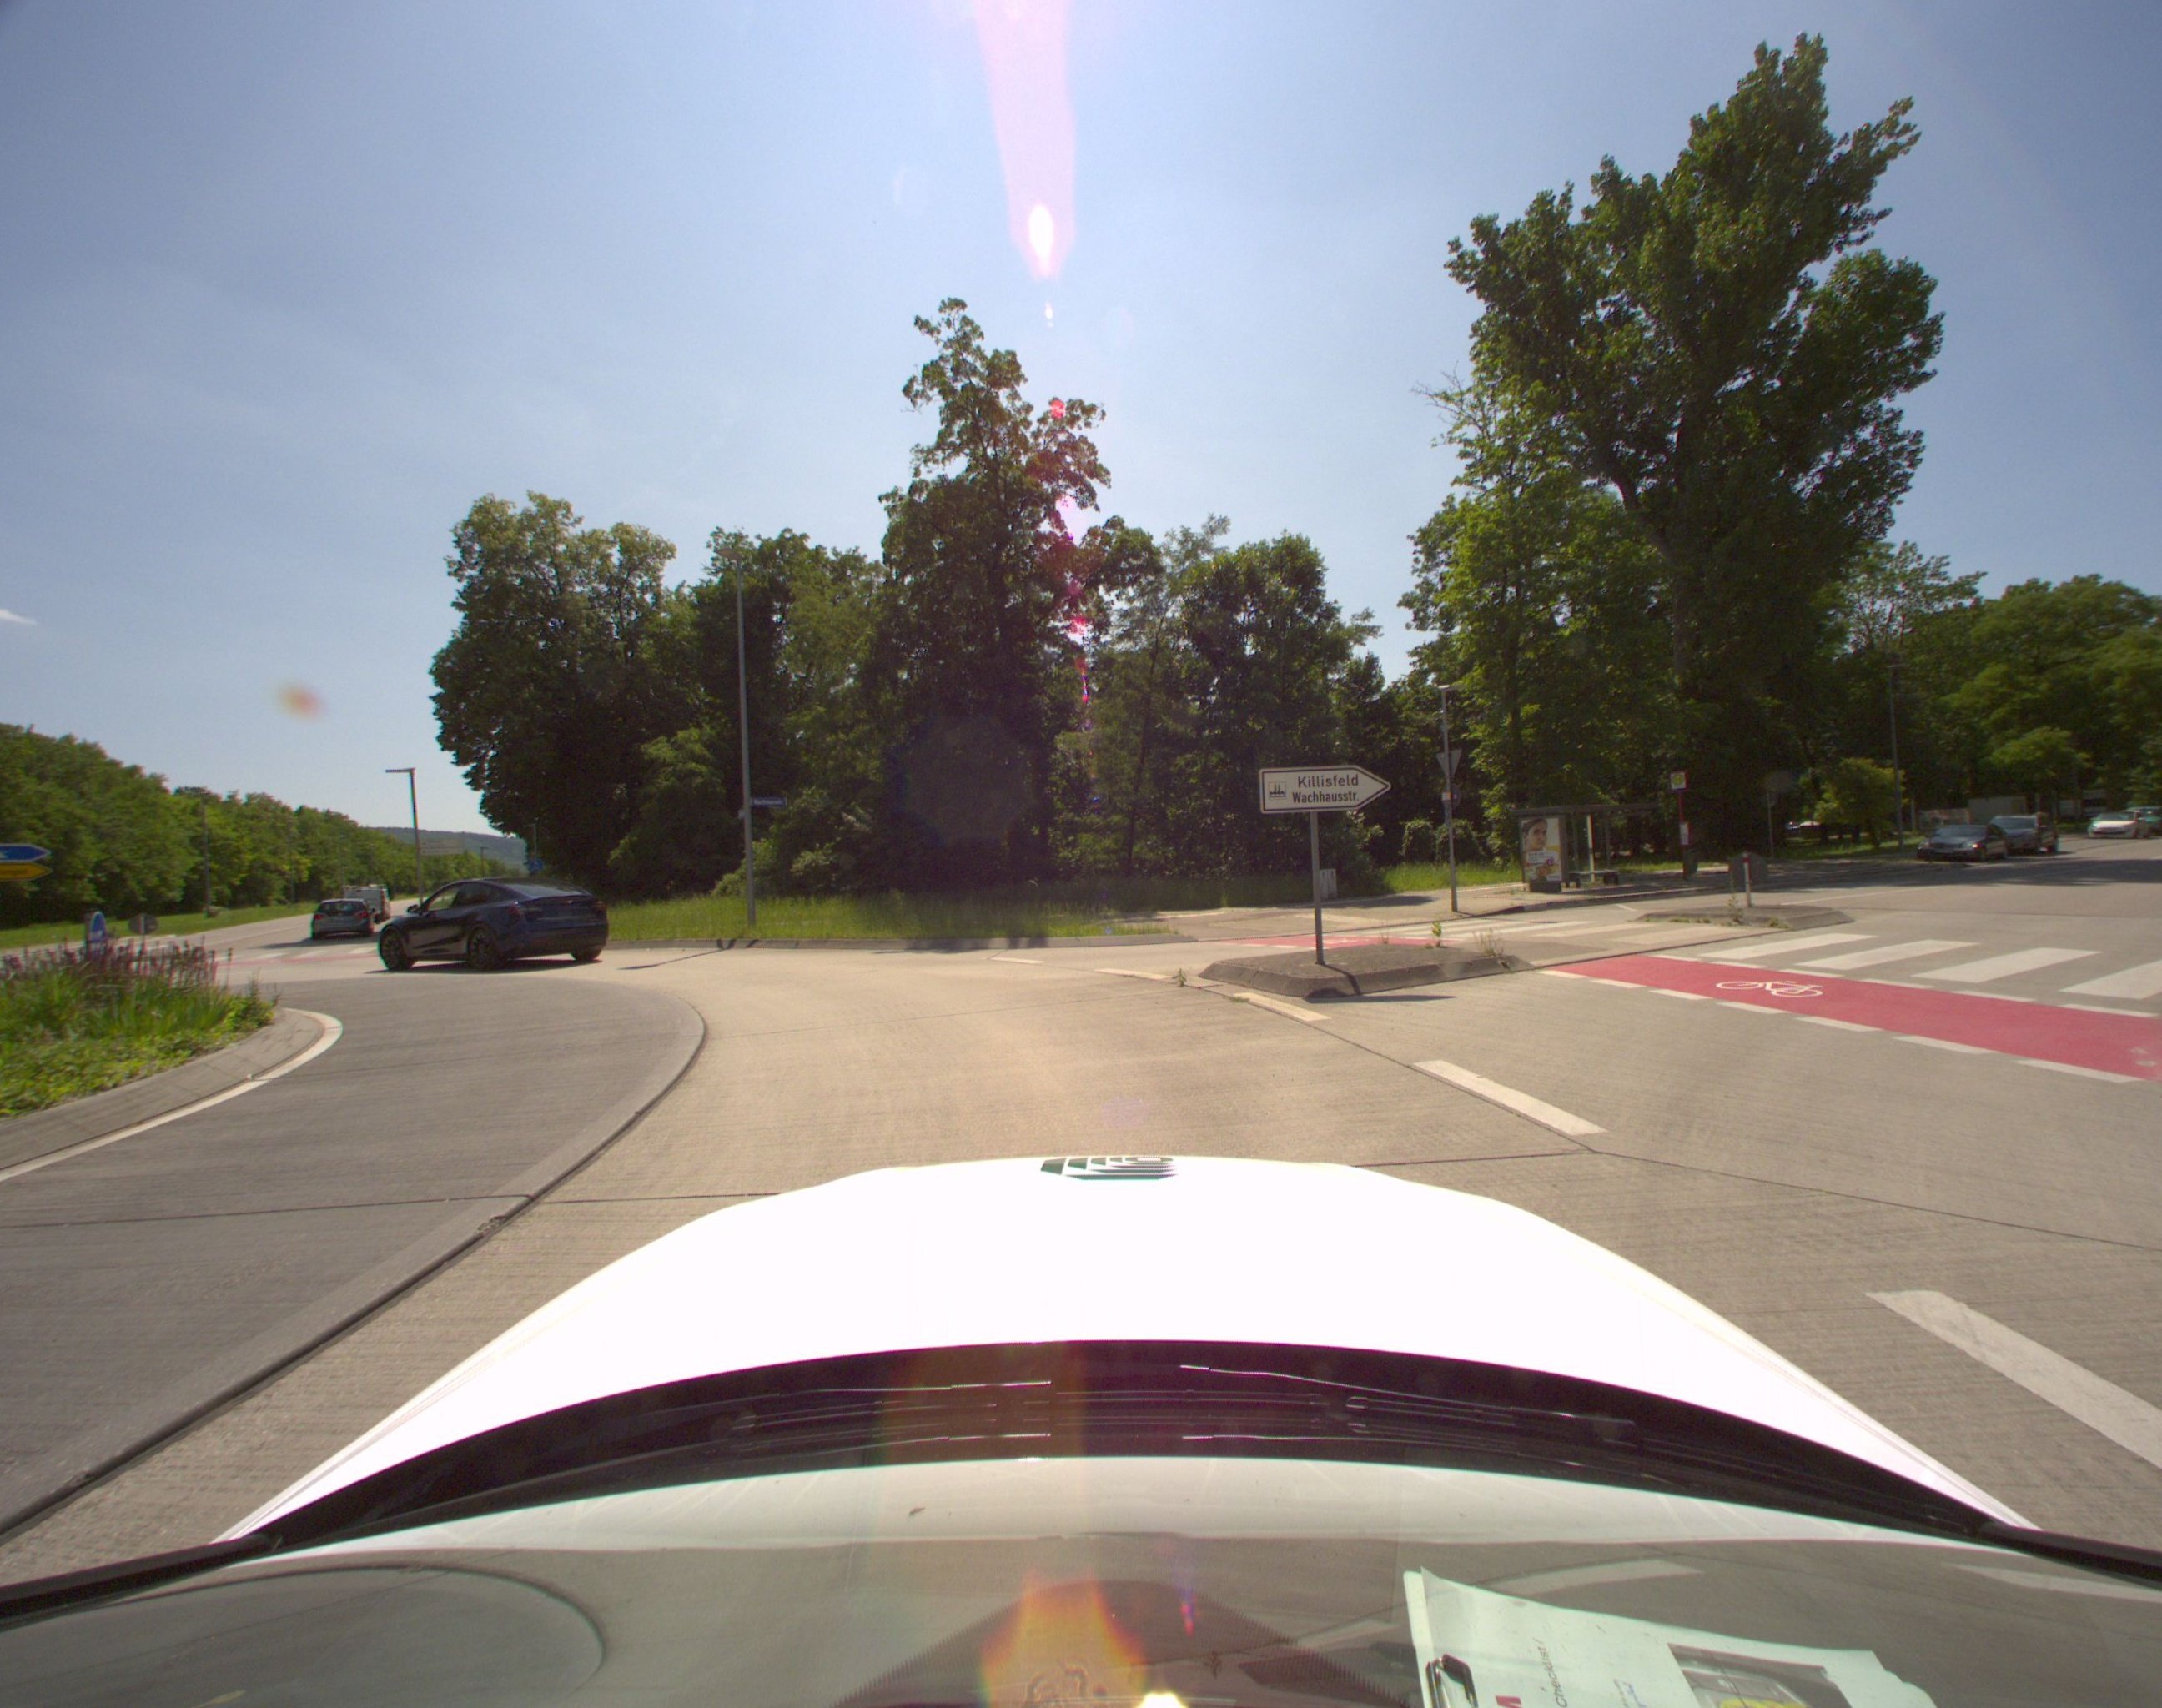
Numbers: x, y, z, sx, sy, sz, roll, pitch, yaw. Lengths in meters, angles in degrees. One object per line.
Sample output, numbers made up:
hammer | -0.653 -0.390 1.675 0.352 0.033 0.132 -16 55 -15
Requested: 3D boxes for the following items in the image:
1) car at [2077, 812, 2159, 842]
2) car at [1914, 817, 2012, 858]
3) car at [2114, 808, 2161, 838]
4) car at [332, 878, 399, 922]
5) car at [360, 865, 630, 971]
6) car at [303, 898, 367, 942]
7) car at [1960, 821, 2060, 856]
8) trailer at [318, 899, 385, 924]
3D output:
car | 56.350 -1.482 44.266 4.009 1.470 1.982 -2 -1 -27
car | 34.398 -0.674 31.741 4.011 1.486 1.687 -2 2 -29
car | 60.332 -1.745 46.131 3.455 1.544 1.719 -2 -1 -30
car | -41.325 2.602 47.161 2.182 2.316 4.928 -2 -1 -33
car | -10.839 1.145 15.032 4.698 1.639 2.012 -3 0 26
car | -31.121 2.700 34.043 1.800 1.607 4.078 -1 -1 -41
car | 39.577 -0.656 34.681 4.012 1.310 1.981 -2 -1 -30
trailer | -39.071 3.046 43.691 2.136 1.097 3.319 -2 -1 -33
